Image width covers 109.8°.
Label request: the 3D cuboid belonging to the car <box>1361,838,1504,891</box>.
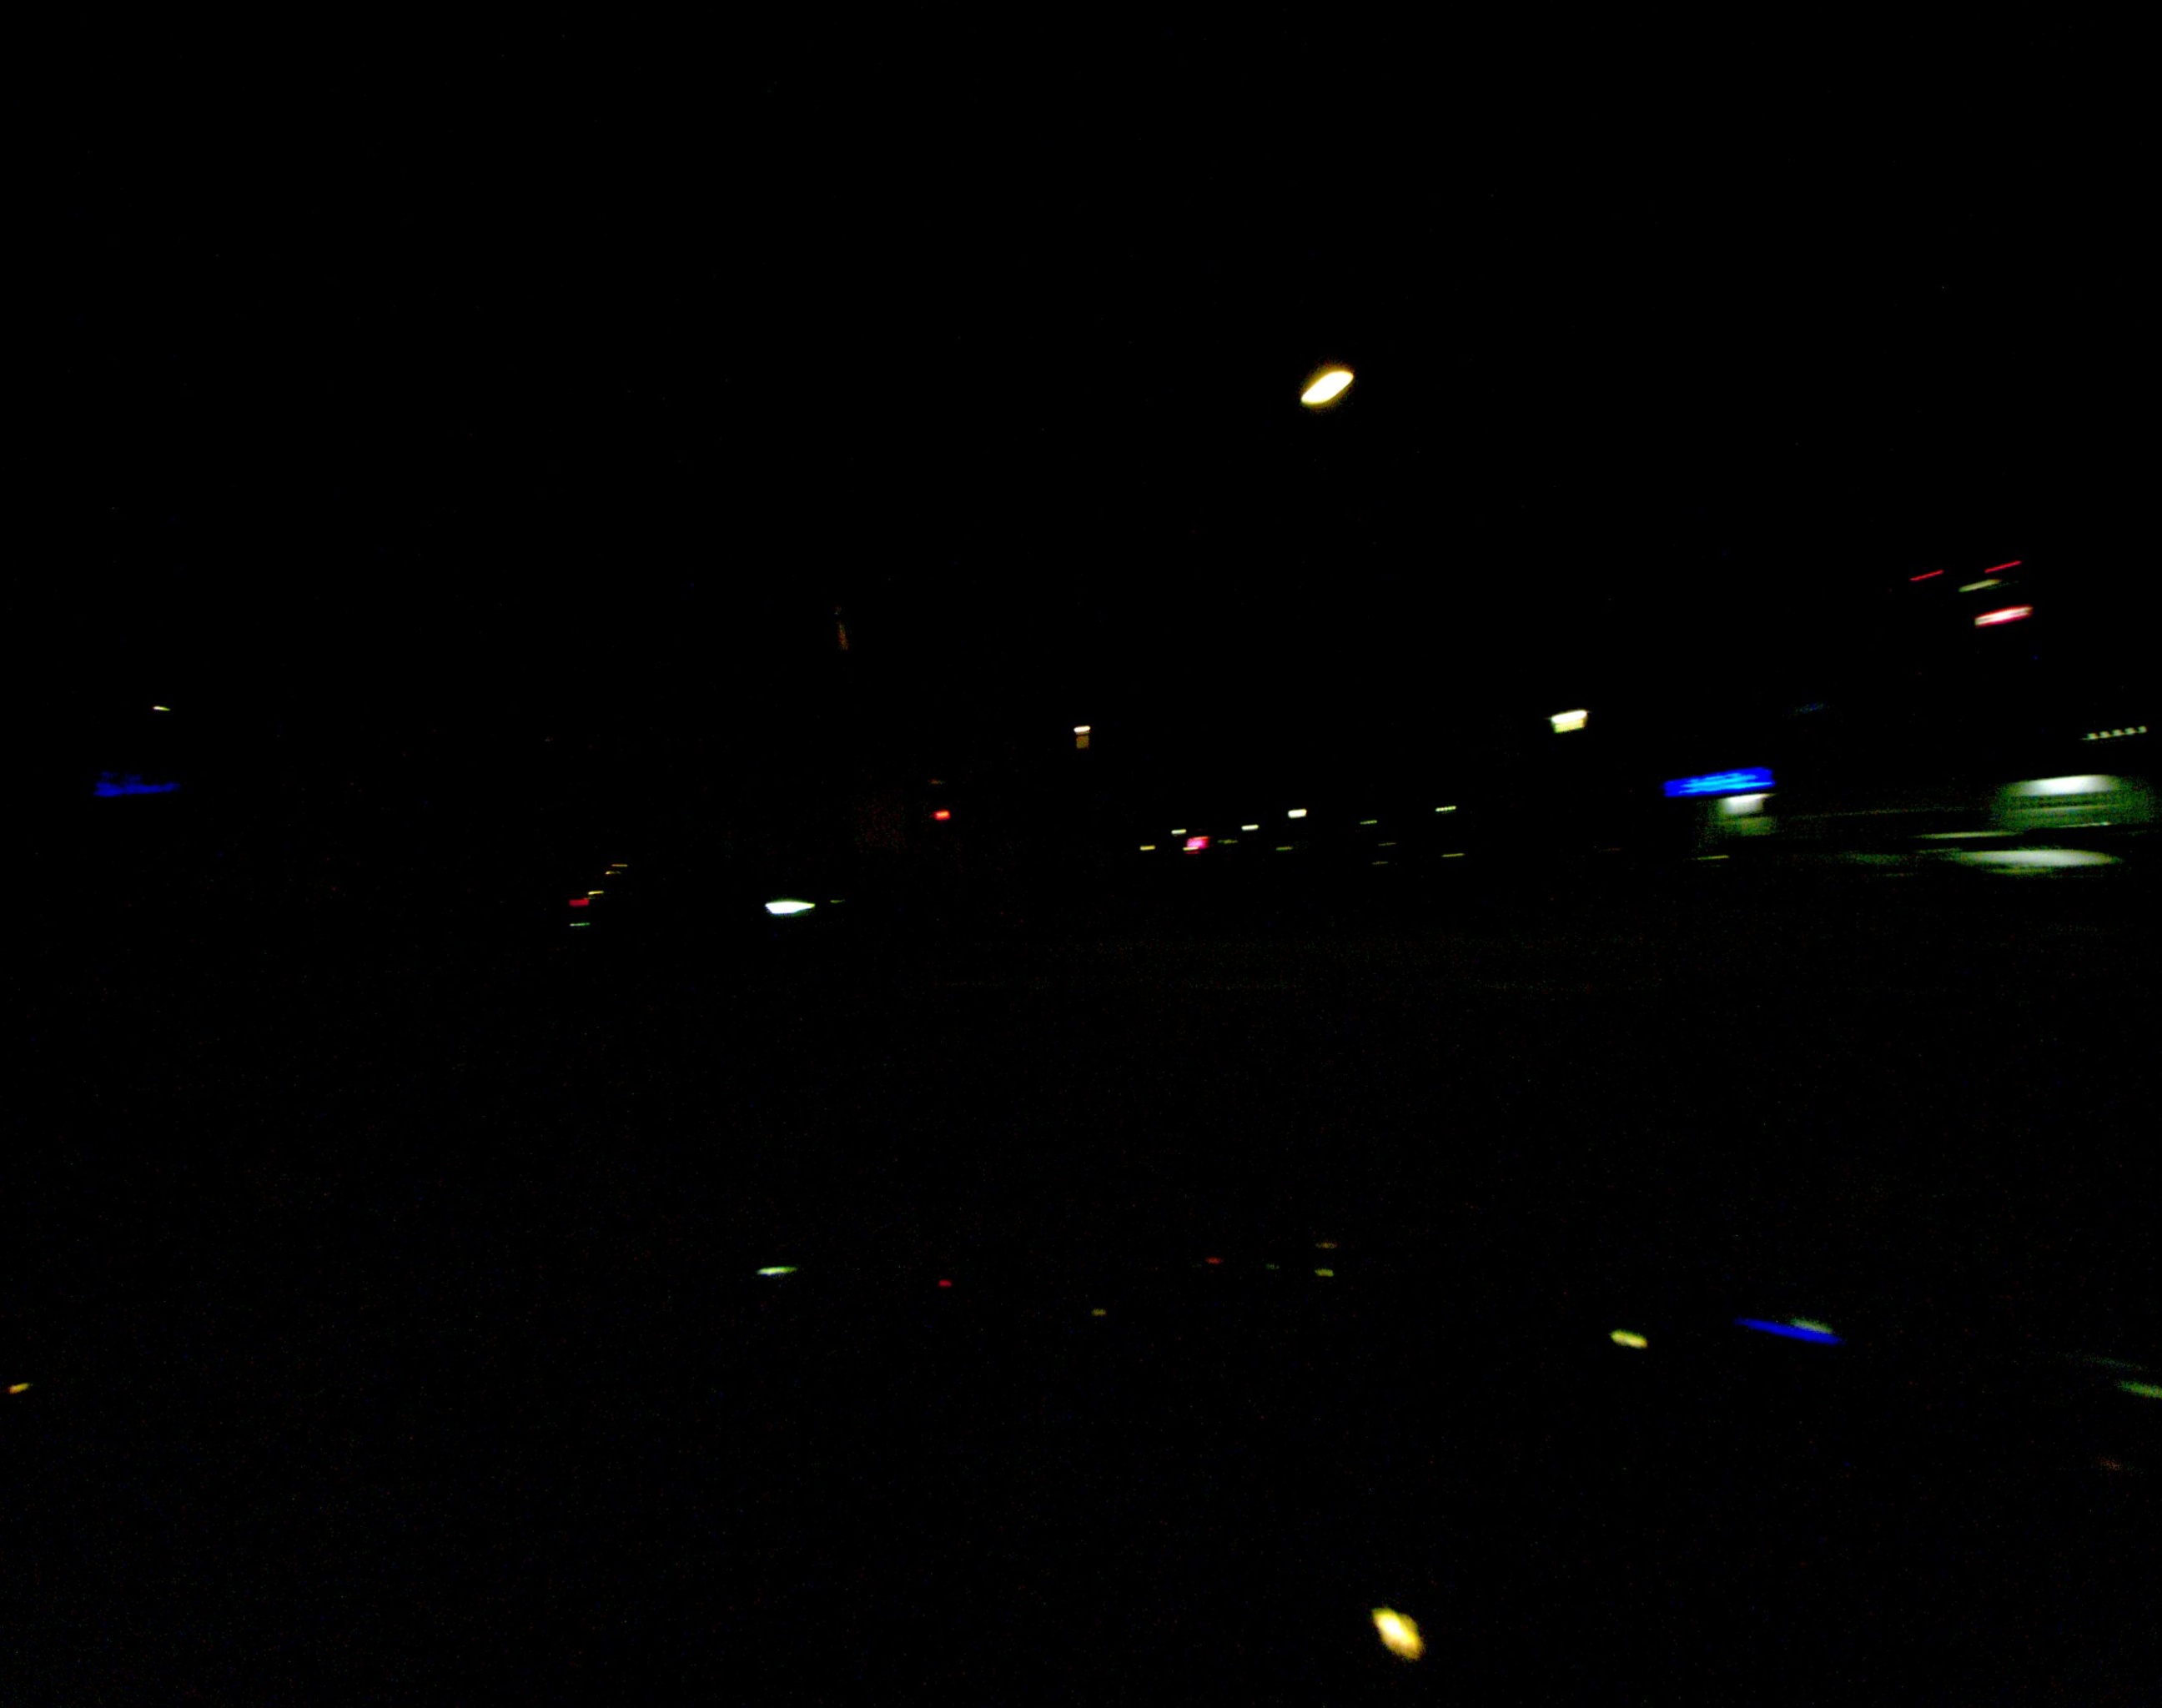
[{"bbox_3d":[11.915,0.337,26.000,3.994,1.613,2.001,-2,1,8],"label":"car"}]

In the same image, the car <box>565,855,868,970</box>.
[{"bbox_3d":[-5.814,0.914,12.335,3.993,1.606,2.002,-2,0,13],"label":"car"}]

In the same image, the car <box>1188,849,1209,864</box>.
[{"bbox_3d":[13.901,0.264,90.119,1.998,1.625,4.000,-1,1,3],"label":"car"}]

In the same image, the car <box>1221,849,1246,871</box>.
[{"bbox_3d":[12.602,0.479,62.844,1.997,1.625,4.003,-1,1,11],"label":"car"}]

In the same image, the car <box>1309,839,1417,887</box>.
[{"bbox_3d":[12.138,0.367,32.952,3.994,1.875,2.001,-2,2,8],"label":"car"}]

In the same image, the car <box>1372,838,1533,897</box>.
[{"bbox_3d":[11.299,0.391,23.354,3.994,1.613,2.001,-2,1,8],"label":"car"}]

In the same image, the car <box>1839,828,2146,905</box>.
[{"bbox_3d":[19.703,0.213,16.821,1.997,1.441,4.457,-1,1,11],"label":"car"}]

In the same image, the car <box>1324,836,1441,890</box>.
[{"bbox_3d":[12.093,0.339,30.675,3.994,1.934,2.001,-2,2,8],"label":"car"}]

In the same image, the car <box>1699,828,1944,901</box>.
[{"bbox_3d":[16.716,0.183,17.552,1.997,1.441,4.457,-1,1,12],"label":"car"}]

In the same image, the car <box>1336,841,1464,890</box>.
[{"bbox_3d":[11.795,0.401,28.319,3.994,1.613,2.001,-2,1,8],"label":"car"}]

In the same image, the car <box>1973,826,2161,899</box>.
[{"bbox_3d":[22.784,0.121,16.601,1.997,1.441,4.457,-1,1,12],"label":"car"}]

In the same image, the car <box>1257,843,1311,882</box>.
[{"bbox_3d":[10.074,0.384,37.968,1.998,1.771,4.001,-1,1,6],"label":"car"}]
